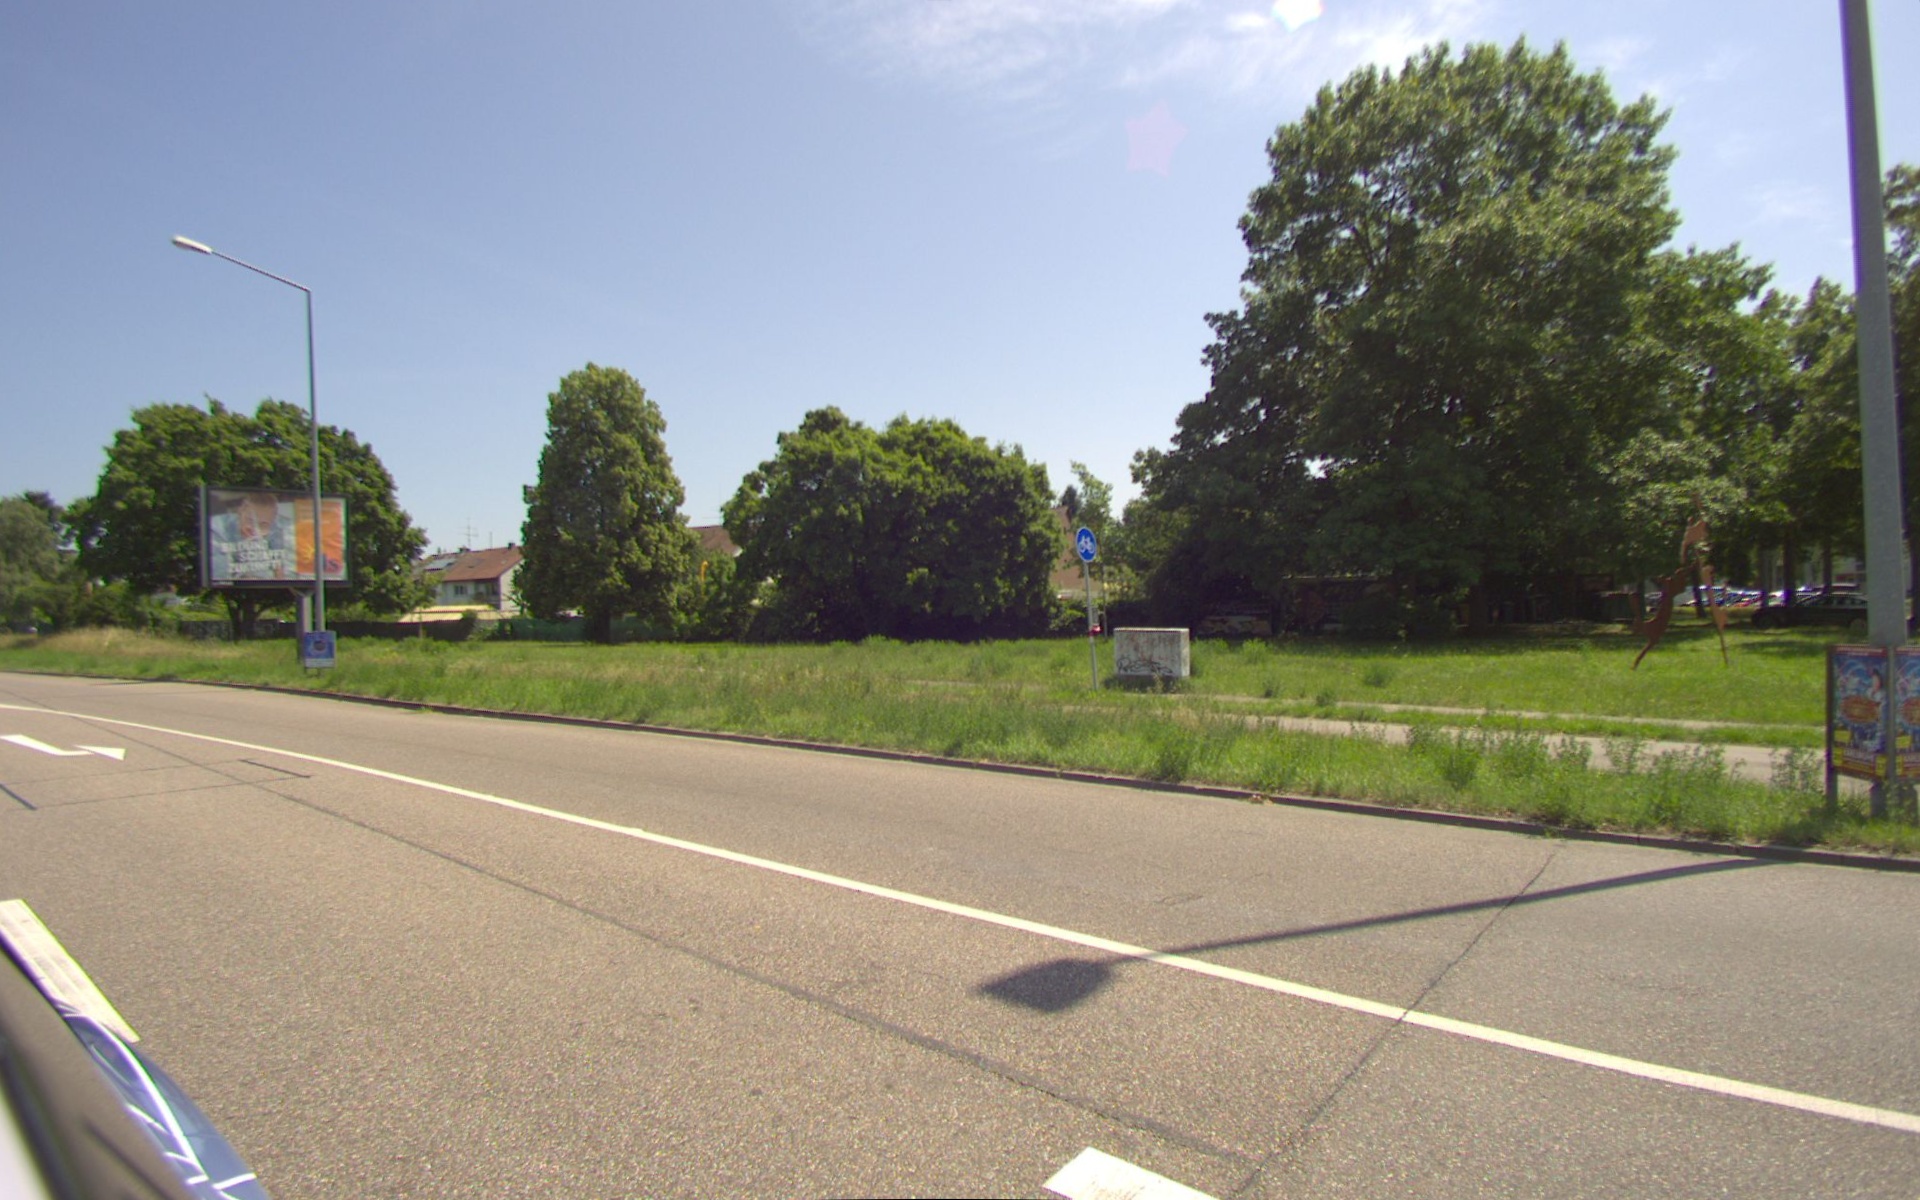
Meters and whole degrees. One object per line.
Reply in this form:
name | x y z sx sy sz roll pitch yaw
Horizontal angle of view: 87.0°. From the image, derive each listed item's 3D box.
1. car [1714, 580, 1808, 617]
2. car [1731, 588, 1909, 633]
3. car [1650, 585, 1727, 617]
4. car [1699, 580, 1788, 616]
car | 48.654 -0.085 61.557 3.972 2.028 1.986 -2 2 22
car | 31.747 0.430 37.505 1.966 1.479 4.597 -1 -2 -31
car | 51.382 0.043 71.434 3.972 2.028 1.986 -2 2 22
car | 49.579 -0.148 64.133 3.972 2.028 1.986 -2 2 22
